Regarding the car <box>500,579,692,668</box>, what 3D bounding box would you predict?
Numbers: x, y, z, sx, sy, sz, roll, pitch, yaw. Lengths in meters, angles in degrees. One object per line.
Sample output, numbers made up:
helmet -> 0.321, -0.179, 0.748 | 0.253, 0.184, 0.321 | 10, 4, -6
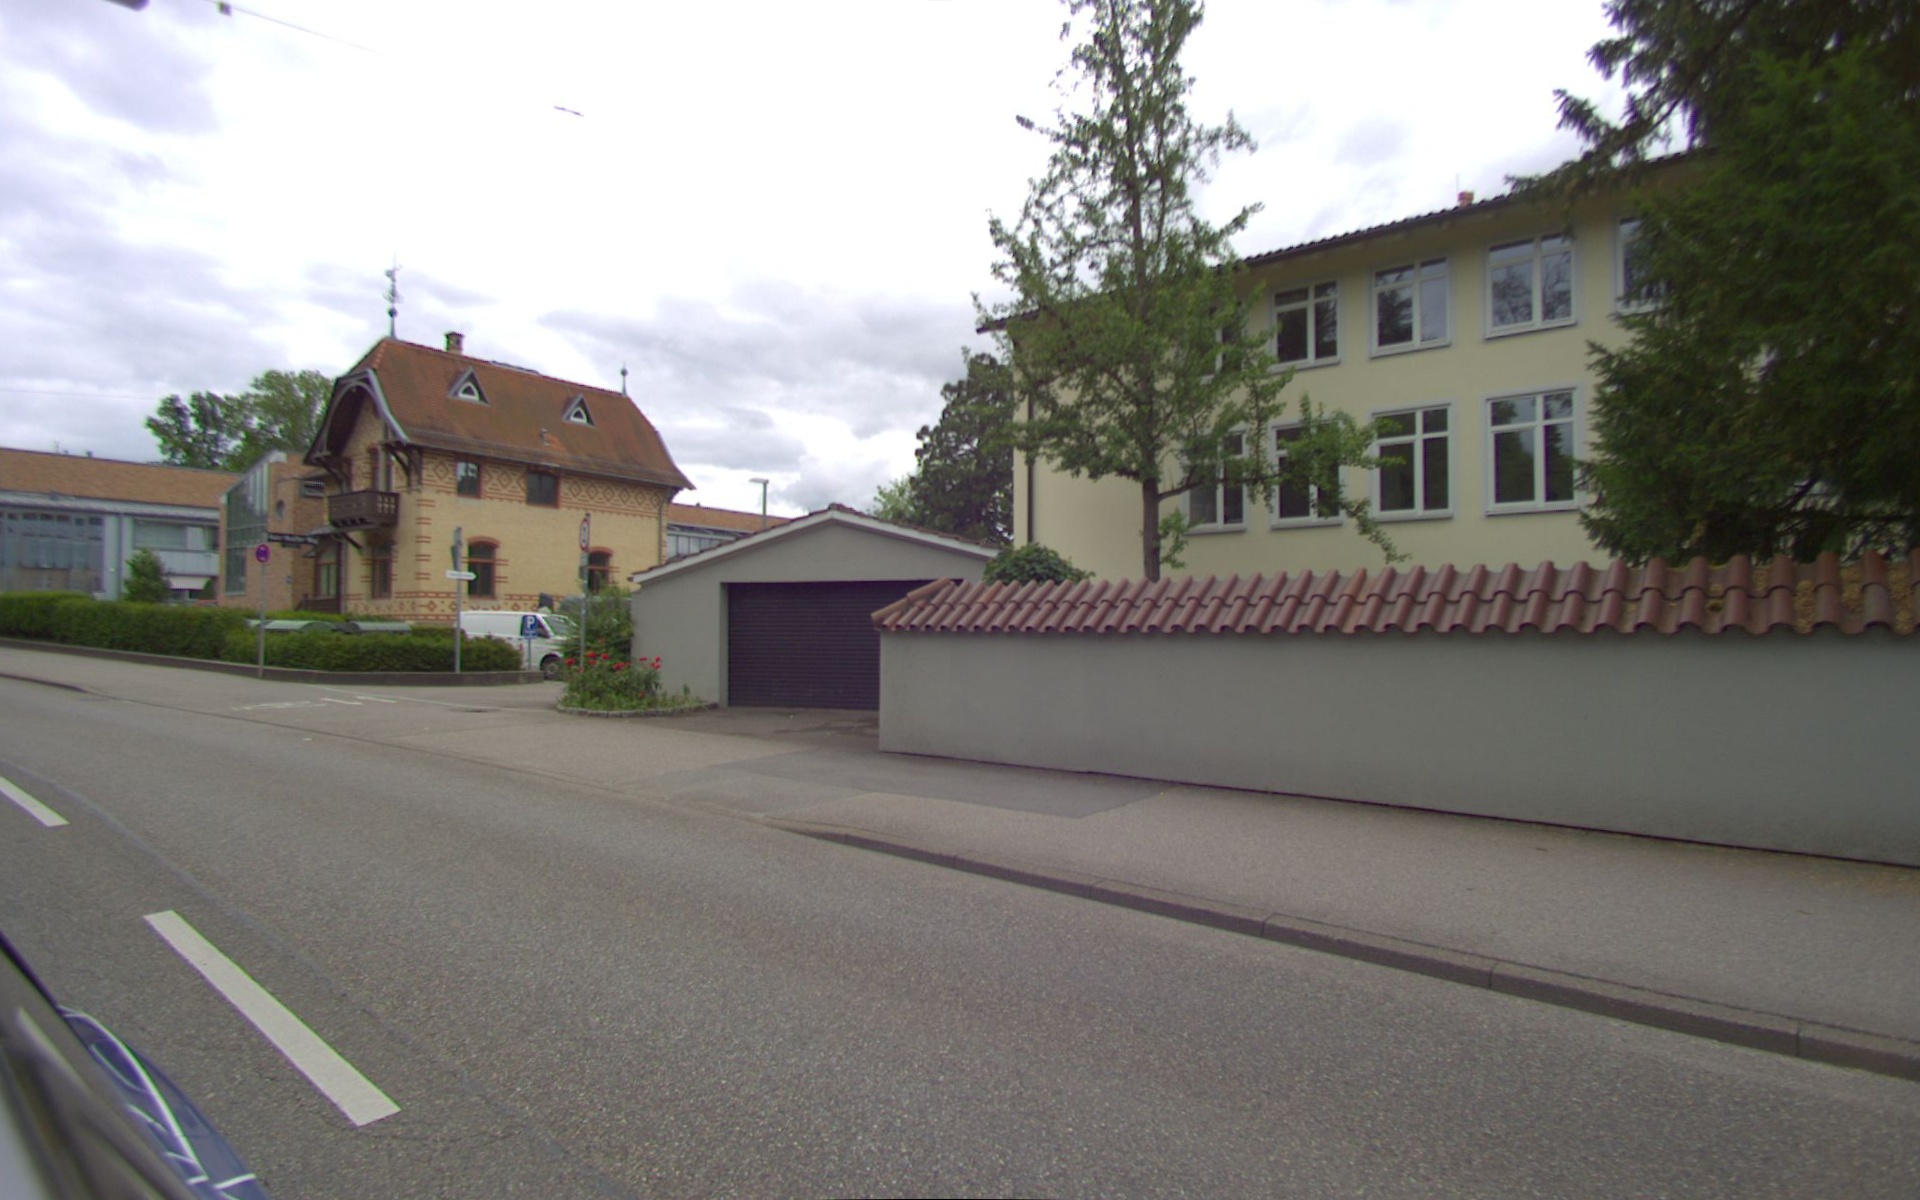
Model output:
car -> -11.489, 0.714, 31.957 | 5.677, 2.639, 1.987 | 0, -2, 20

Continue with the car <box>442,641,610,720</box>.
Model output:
car -> -12.742, 2.288, 29.709 | 4.586, 2.085, 1.880 | 0, -2, 23
